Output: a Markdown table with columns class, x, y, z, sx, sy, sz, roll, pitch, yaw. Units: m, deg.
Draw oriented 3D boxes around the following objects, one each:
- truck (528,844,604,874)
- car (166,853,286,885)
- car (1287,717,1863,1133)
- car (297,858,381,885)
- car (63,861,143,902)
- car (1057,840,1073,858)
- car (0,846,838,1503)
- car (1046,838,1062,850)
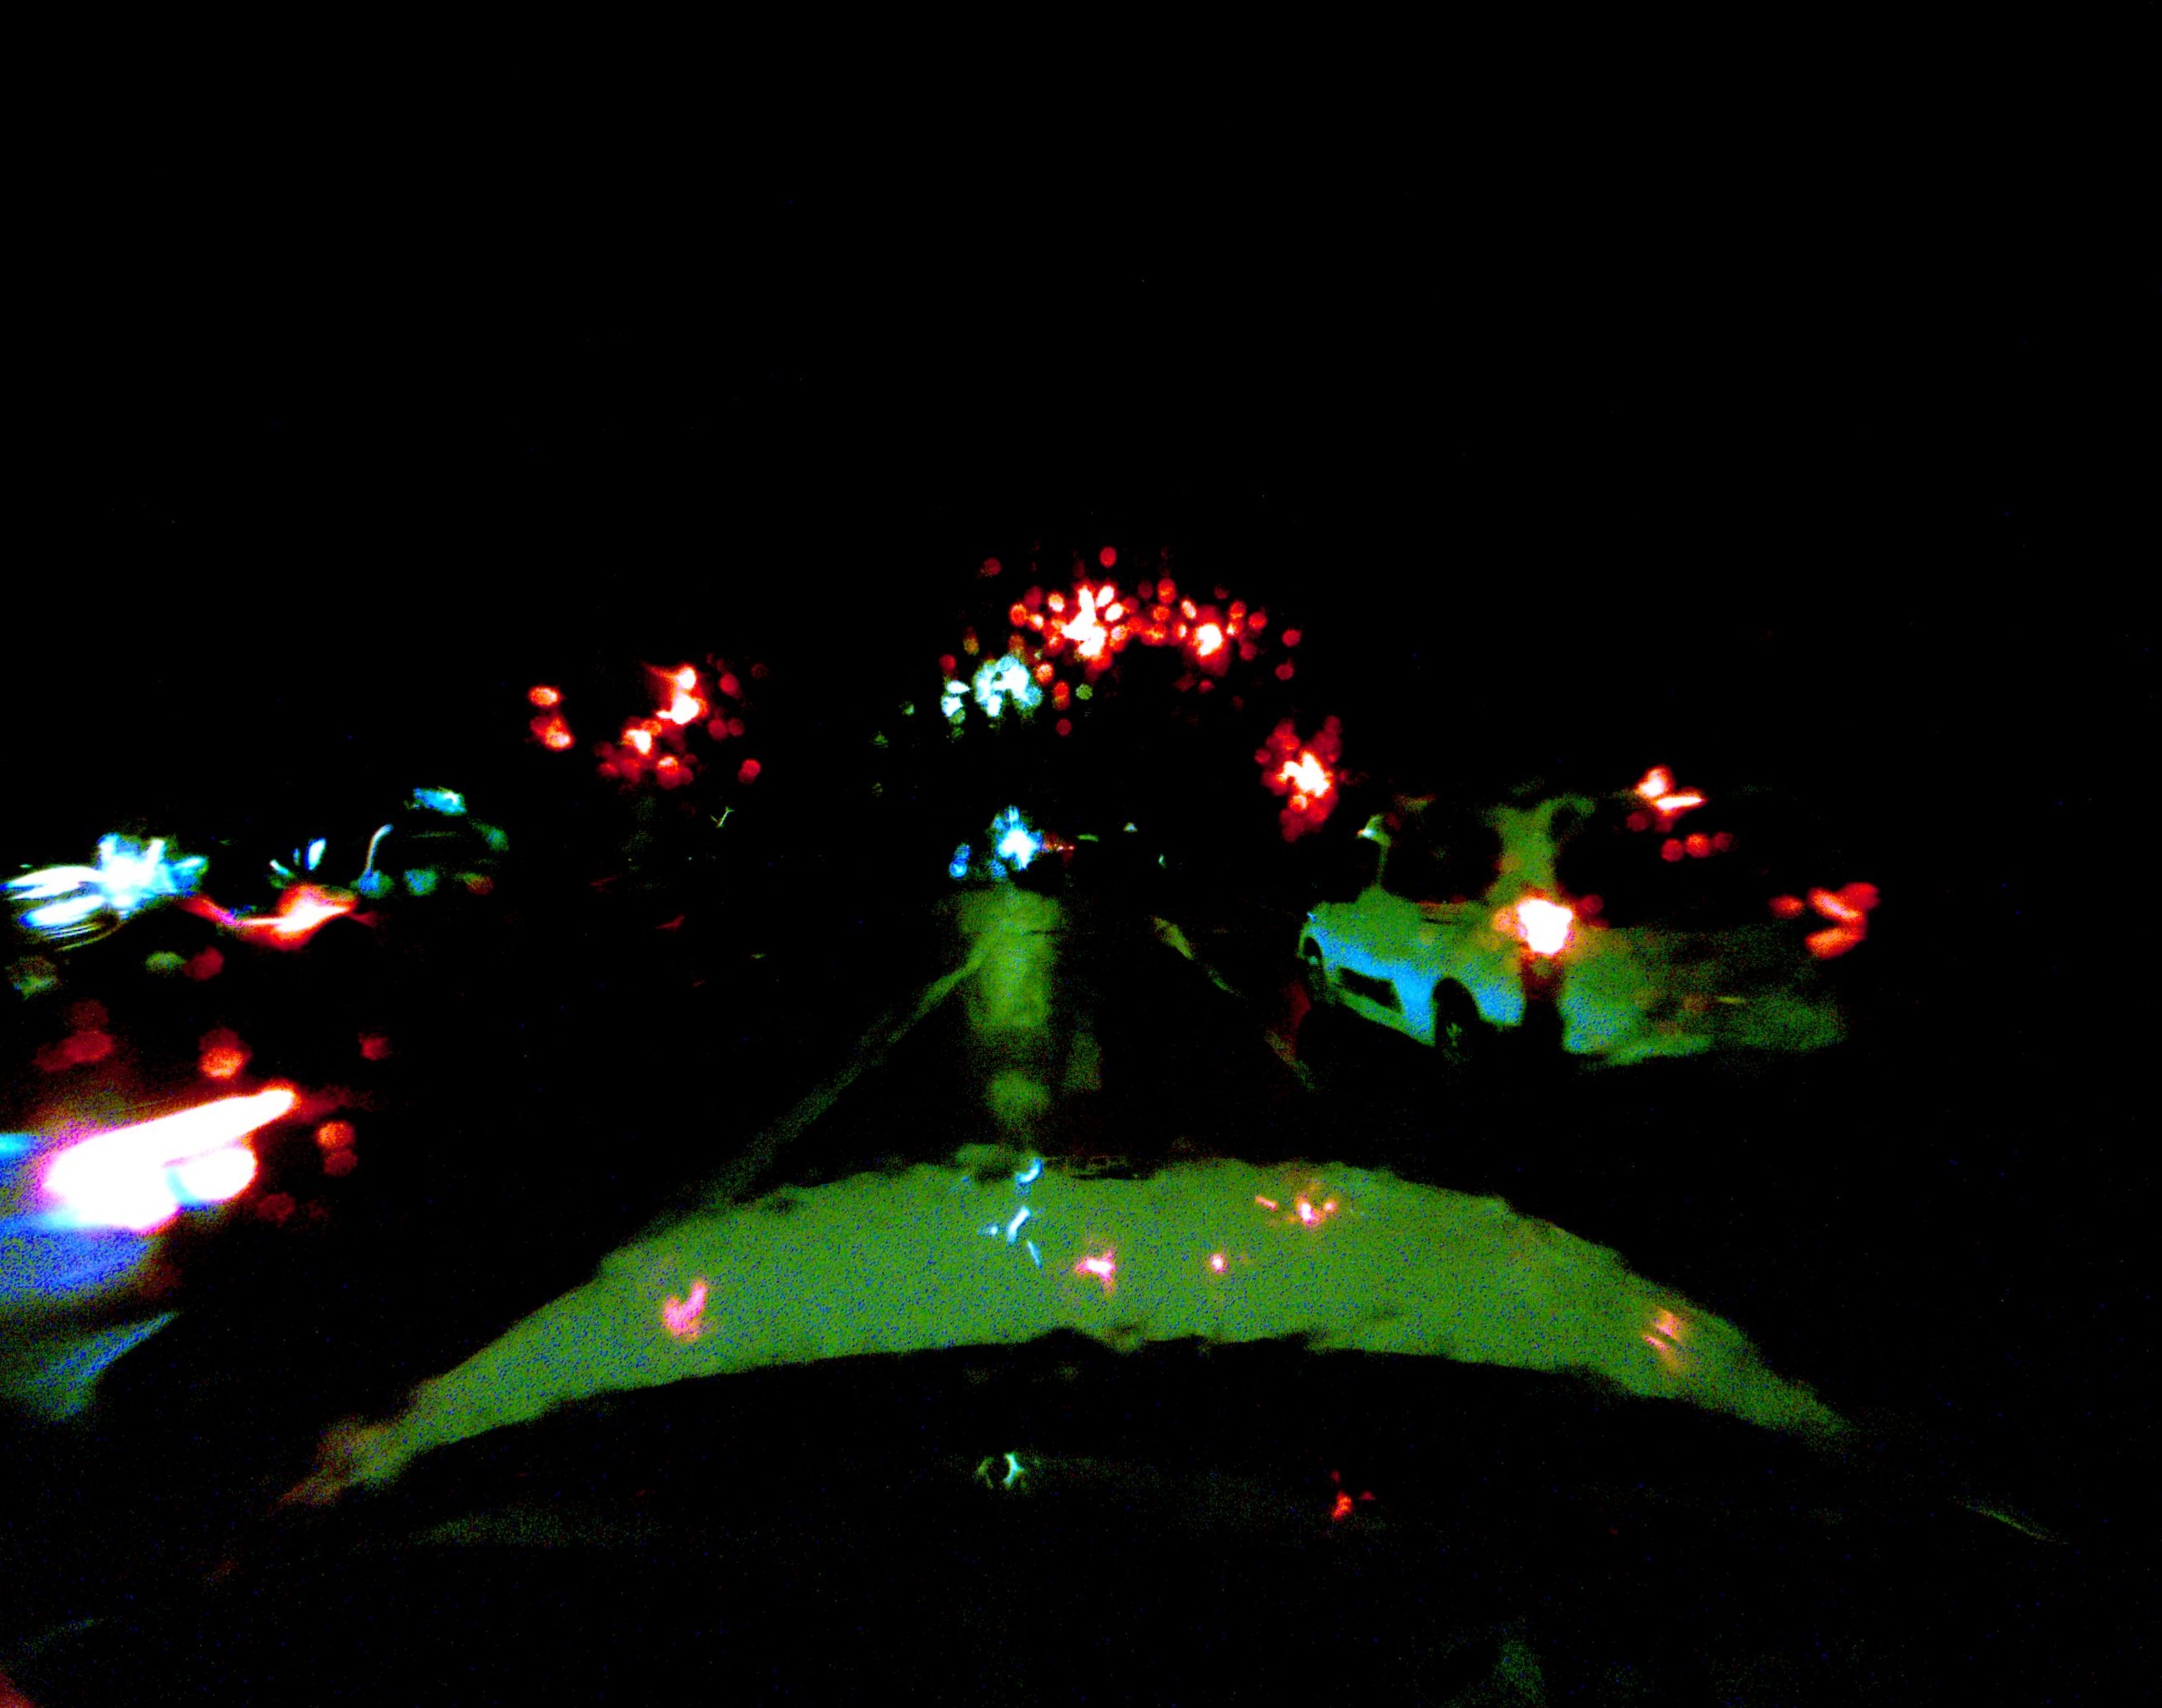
| class | x | y | z | sx | sy | sz | roll | pitch | yaw |
| --- | --- | --- | --- | --- | --- | --- | --- | --- | --- |
| truck | -40.675 | 0.373 | 64.577 | 1.985 | 2.271 | 6.024 | 0 | 0 | 2 |
| car | -42.678 | 0.703 | 40.799 | 1.715 | 1.519 | 4.001 | 0 | 0 | 1 |
| car | 2.993 | 0.344 | 6.275 | 1.784 | 2.022 | 4.582 | -1 | 0 | 2 |
| car | -43.166 | 0.987 | 47.471 | 1.722 | 1.519 | 3.986 | 0 | 0 | -10 |
| car | -39.415 | 1.069 | 32.906 | 1.524 | 1.518 | 4.321 | 1 | -1 | -44 |
| car | -1.825 | -0.549 | 91.776 | 1.786 | 2.022 | 4.576 | -1 | 0 | -2 |
| car | -2.880 | 0.759 | 4.118 | 1.777 | 1.511 | 4.438 | -2 | 0 | 2 |
| car | -4.587 | -1.664 | 138.663 | 1.984 | 1.717 | 4.006 | 3 | -1 | 6 |
